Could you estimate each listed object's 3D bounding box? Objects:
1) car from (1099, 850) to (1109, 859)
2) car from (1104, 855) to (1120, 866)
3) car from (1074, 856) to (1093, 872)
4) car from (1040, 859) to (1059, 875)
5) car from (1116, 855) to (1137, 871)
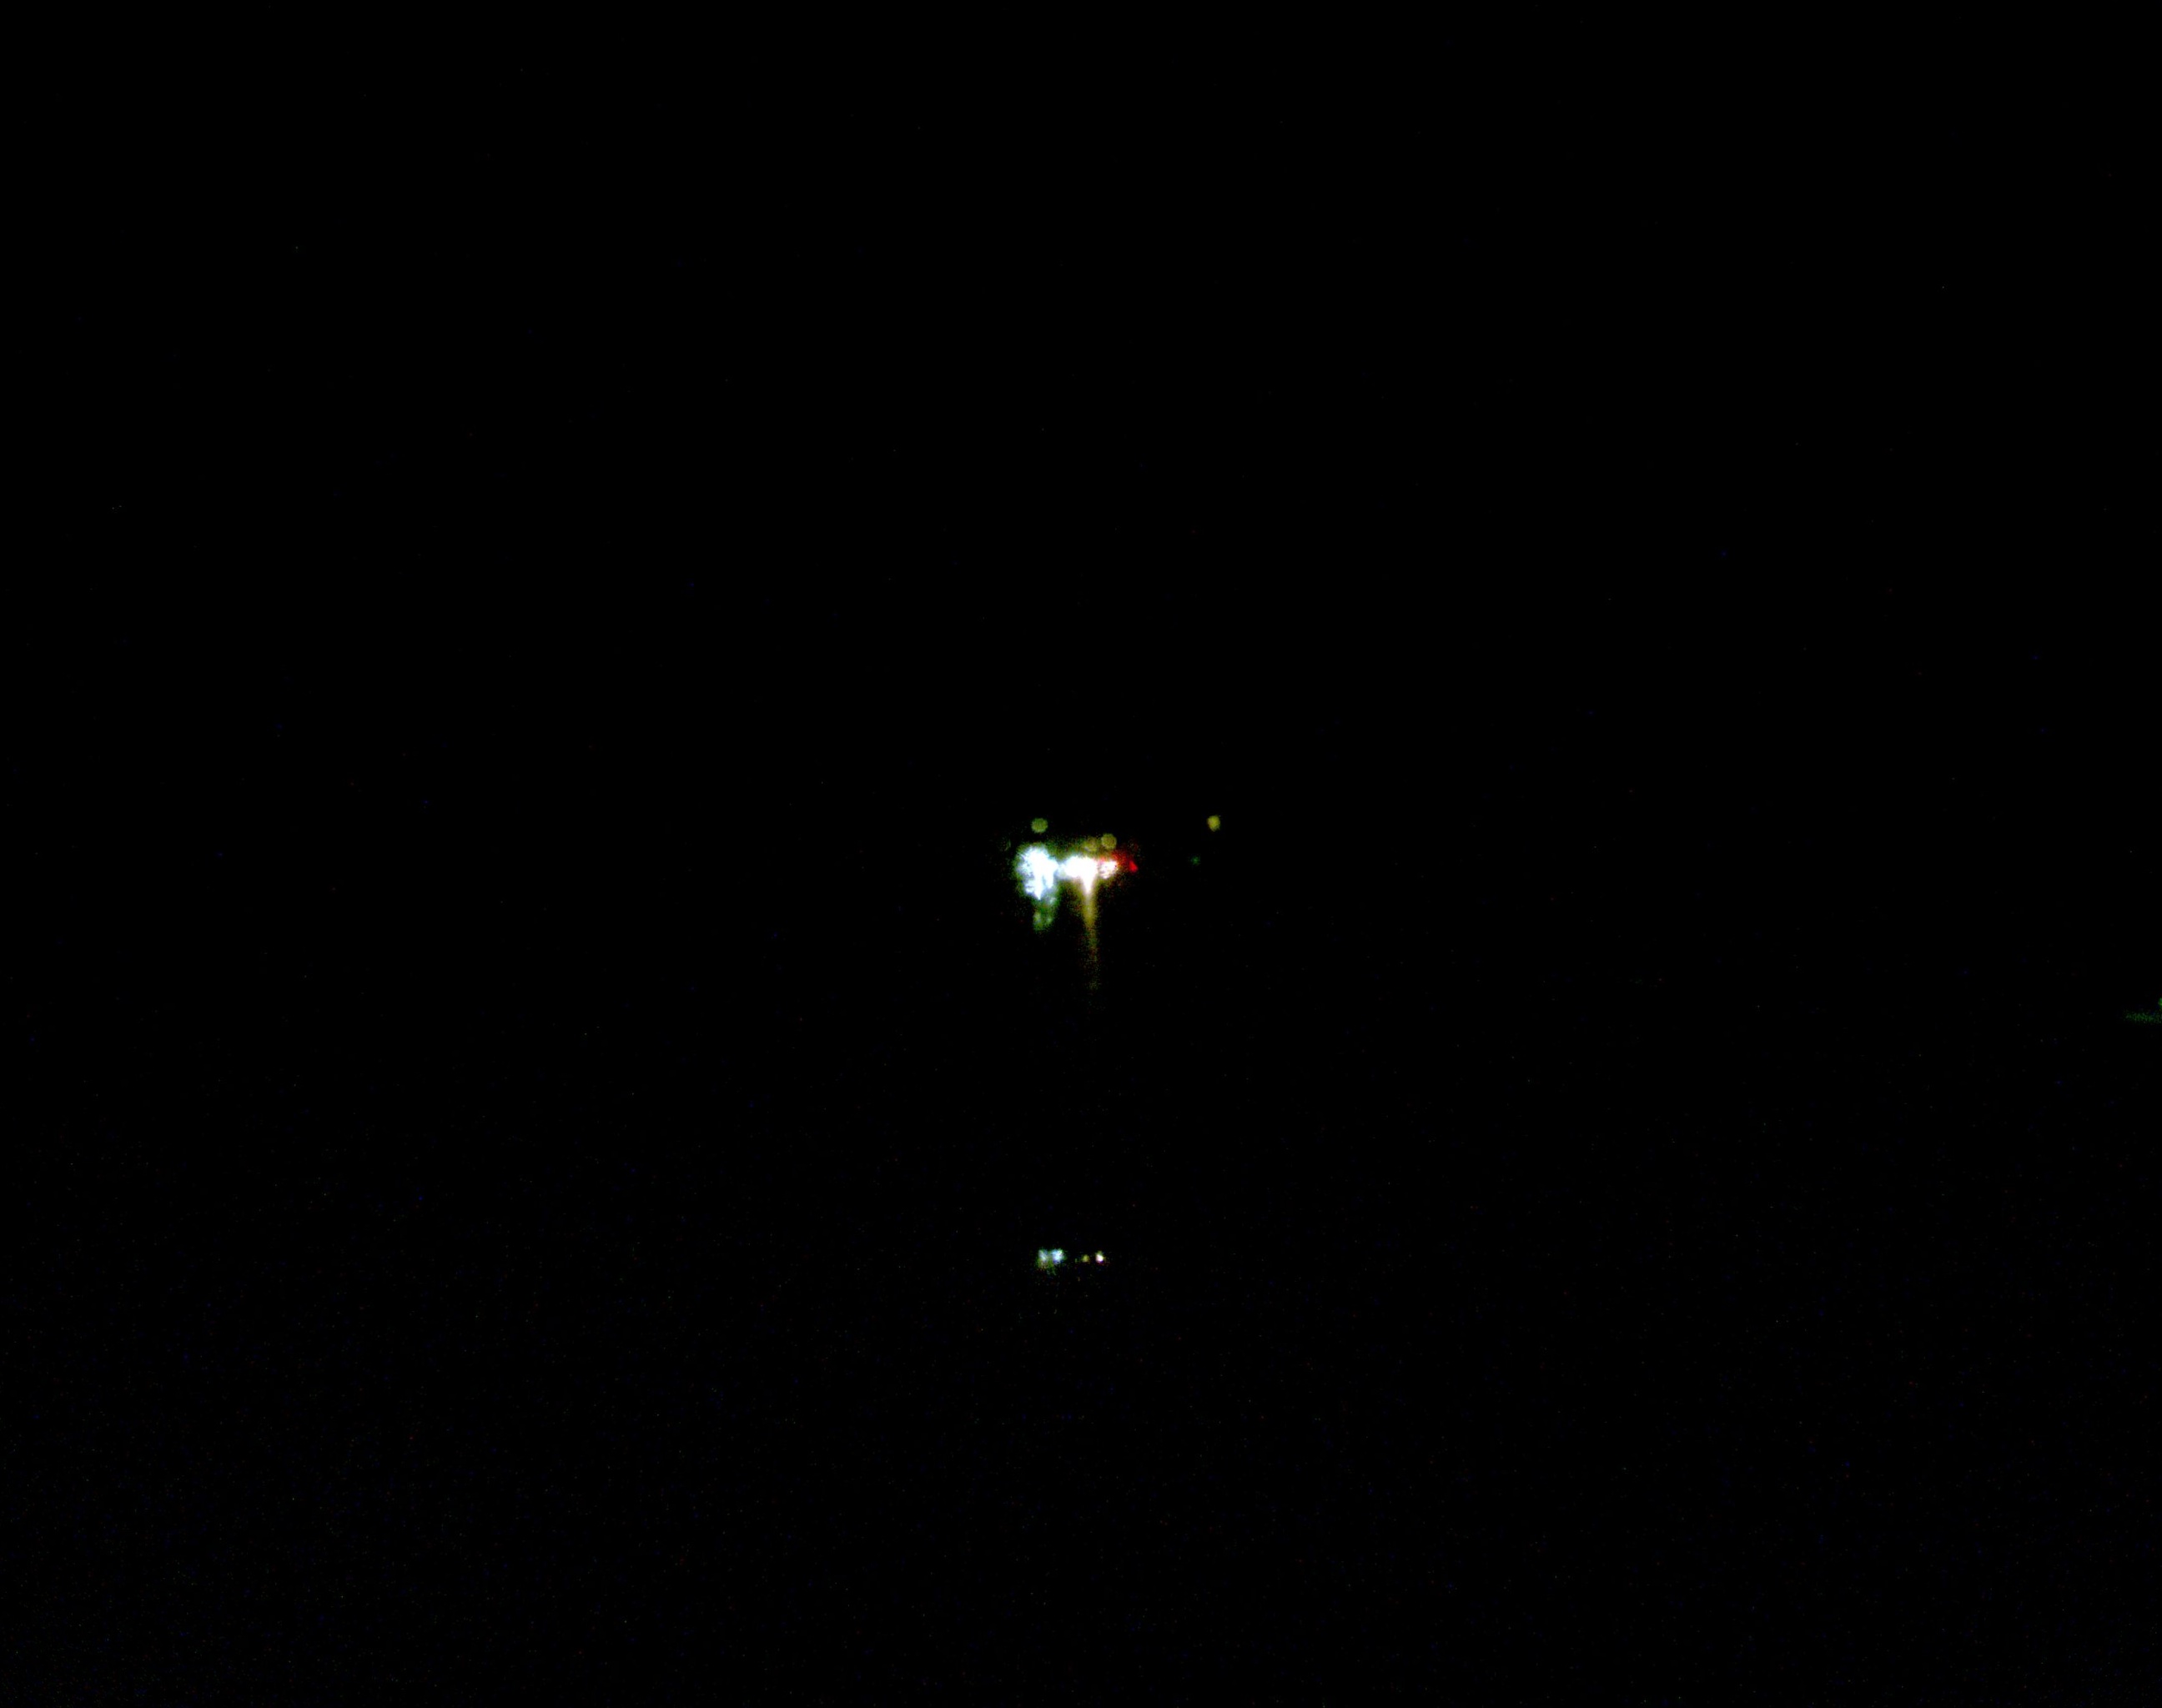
[{"bbox_3d":[4.414,0.142,144.459,1.795,1.681,4.000,-2,0,2],"label":"car"},{"bbox_3d":[4.400,0.883,108.727,1.999,1.410,4.665,-2,0,0],"label":"car"},{"bbox_3d":[0.238,1.099,82.048,1.999,1.575,4.000,-2,0,0],"label":"car"},{"bbox_3d":[-3.460,1.419,85.069,1.999,1.575,3.999,-3,0,-2],"label":"car"},{"bbox_3d":[4.551,0.865,75.226,1.998,1.489,3.775,-2,0,4],"label":"car"}]
